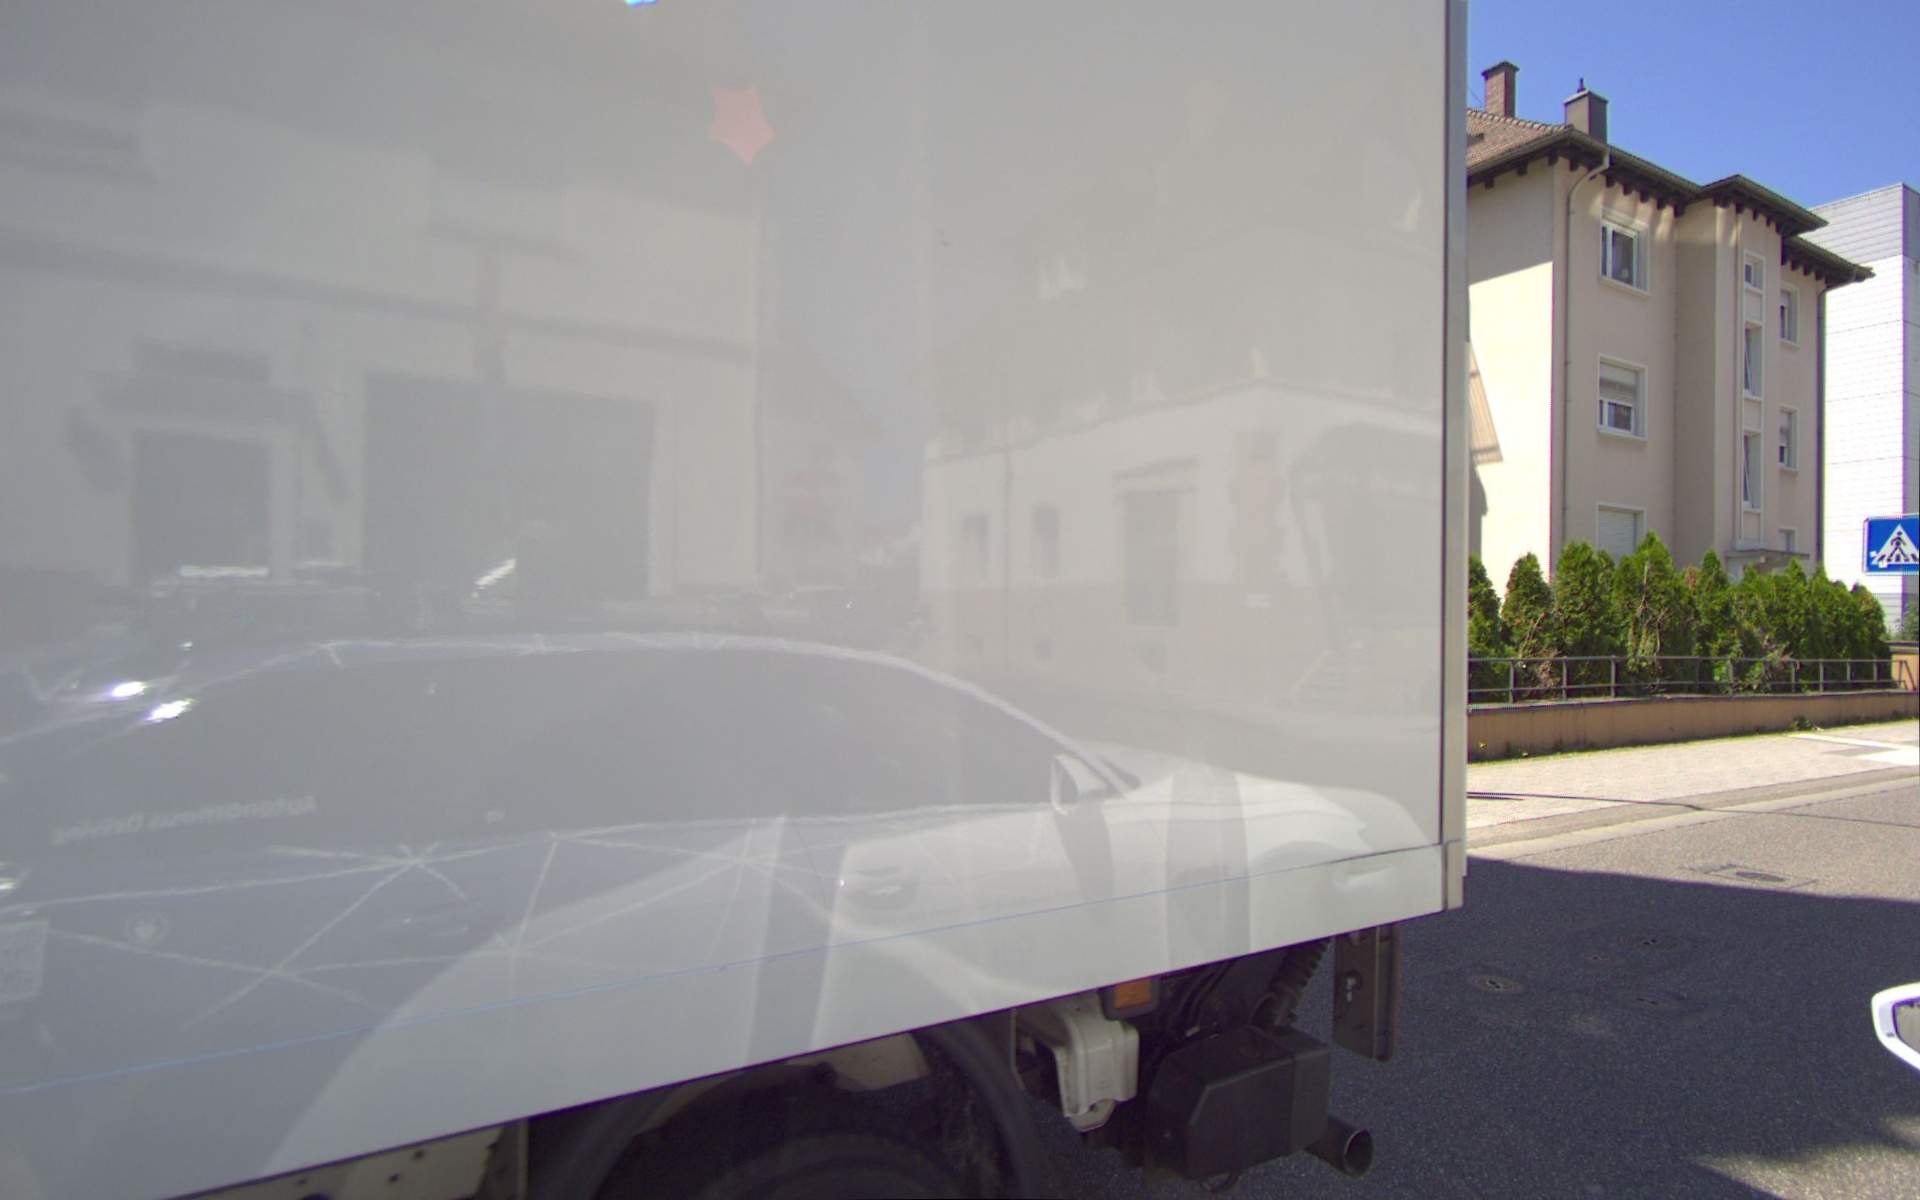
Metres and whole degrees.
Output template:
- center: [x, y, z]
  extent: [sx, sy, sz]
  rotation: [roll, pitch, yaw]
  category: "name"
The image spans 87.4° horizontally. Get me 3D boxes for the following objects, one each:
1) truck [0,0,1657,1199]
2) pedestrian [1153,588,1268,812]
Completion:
- center: [-1.815, -0.085, 1.551]
  extent: [6.184, 3.023, 2.408]
  rotation: [1, -2, -30]
  category: "truck"
- center: [2.016, 0.773, 8.085]
  extent: [0.700, 1.707, 0.534]
  rotation: [2, -1, -30]
  category: "pedestrian"
